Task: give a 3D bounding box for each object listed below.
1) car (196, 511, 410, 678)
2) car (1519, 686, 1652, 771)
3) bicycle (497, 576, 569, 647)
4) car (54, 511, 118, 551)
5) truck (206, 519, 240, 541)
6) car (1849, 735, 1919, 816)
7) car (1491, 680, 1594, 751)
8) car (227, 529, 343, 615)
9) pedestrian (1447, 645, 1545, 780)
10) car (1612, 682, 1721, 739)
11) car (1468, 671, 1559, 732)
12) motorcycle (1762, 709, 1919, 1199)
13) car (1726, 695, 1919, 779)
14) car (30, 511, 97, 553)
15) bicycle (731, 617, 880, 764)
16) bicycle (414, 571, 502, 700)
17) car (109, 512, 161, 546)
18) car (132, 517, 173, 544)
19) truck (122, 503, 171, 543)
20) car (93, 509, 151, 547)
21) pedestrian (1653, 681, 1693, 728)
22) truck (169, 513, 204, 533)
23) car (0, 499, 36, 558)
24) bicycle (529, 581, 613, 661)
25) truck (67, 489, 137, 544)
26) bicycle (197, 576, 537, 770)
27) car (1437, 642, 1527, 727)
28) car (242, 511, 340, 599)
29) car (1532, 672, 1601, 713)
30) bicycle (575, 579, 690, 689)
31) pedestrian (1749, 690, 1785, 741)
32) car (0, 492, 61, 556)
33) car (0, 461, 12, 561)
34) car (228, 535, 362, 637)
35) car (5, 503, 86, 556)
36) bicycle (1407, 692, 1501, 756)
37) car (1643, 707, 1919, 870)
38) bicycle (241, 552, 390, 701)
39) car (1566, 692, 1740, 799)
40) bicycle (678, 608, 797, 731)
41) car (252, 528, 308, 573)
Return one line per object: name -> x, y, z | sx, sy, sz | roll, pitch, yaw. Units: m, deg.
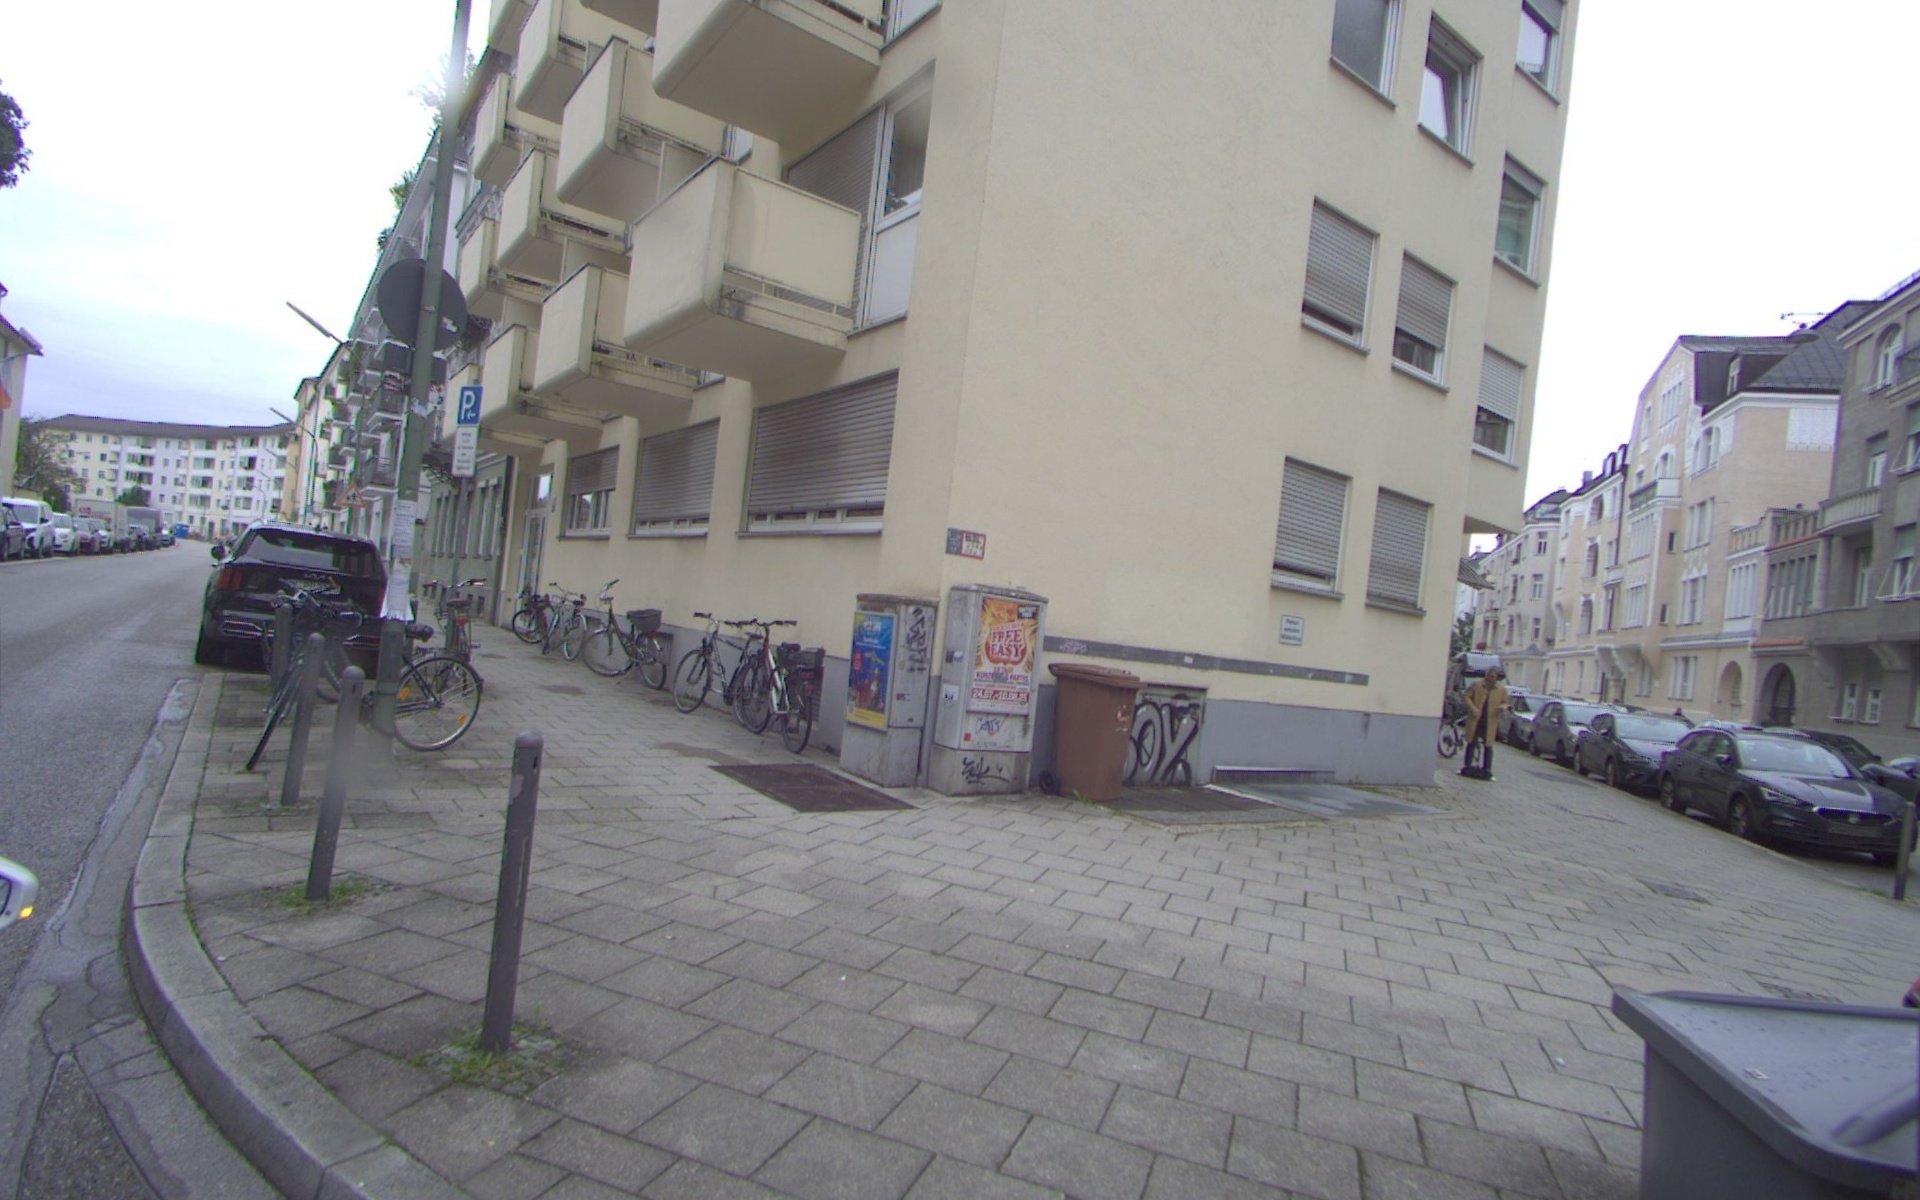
car -> -8.400, -0.128, 12.758 | 1.839, 1.659, 4.506 | 6, 0, -36
car -> 15.137, 3.060, 24.576 | 1.608, 1.556, 3.856 | 6, 0, 16
bicycle -> -7.344, 0.183, 17.256 | 0.577, 1.067, 1.743 | 5, 0, -40
car -> -38.595, -3.031, 44.508 | 1.785, 1.487, 3.828 | 6, 0, -37
truck -> -94.435, -8.920, 128.861 | 5.214, 2.329, 2.222 | 6, 1, 40
car -> 19.622, 3.615, 19.785 | 1.728, 1.347, 4.096 | 6, 0, 21
car -> 16.921, 3.301, 29.411 | 1.608, 1.611, 3.969 | 6, 0, 17
car -> -15.132, -0.678, 22.442 | 1.849, 1.570, 4.707 | 6, 0, -36
pedestrian -> 8.097, 1.676, 15.252 | 0.728, 1.867, 1.018 | 9, -2, 5
car -> 25.474, 3.944, 36.486 | 1.808, 1.532, 4.608 | 6, -1, 18
car -> 19.247, 3.487, 35.192 | 1.963, 1.709, 4.674 | 5, -1, 20
motorcycle -> 3.483, 1.130, 2.614 | 2.047, 1.372, 0.817 | 7, 0, -3
car -> 21.907, 3.413, 25.838 | 1.962, 1.466, 4.779 | 7, 0, 18
car -> -35.366, -2.679, 39.767 | 1.743, 1.385, 3.957 | 6, 0, -39
bicycle -> -1.413, 0.760, 8.905 | 0.575, 1.067, 1.748 | 5, 0, -32
bicycle -> -5.288, 0.328, 10.532 | 0.575, 1.168, 1.947 | 5, 0, -32
car -> -50.517, -4.315, 61.696 | 1.981, 1.784, 4.341 | 6, 0, -35
car -> -61.650, -5.304, 76.872 | 1.981, 1.784, 4.341 | 6, 0, -35
truck -> -54.173, -5.097, 67.055 | 1.981, 2.348, 5.360 | 6, 0, -35
car -> -46.831, -3.991, 56.316 | 1.981, 1.784, 4.341 | 6, 0, -35
pedestrian -> 29.346, 4.294, 41.428 | 0.977, 1.750, 0.939 | 6, 1, 19
truck -> -110.345, -11.024, 143.458 | 5.361, 2.328, 2.620 | 6, 0, 39
car -> -26.148, -1.989, 26.788 | 1.734, 1.462, 3.961 | 6, 0, -36
bicycle -> -6.080, 0.308, 15.663 | 0.577, 1.067, 1.817 | 5, 0, -40
truck -> -42.411, -4.066, 49.840 | 1.981, 2.348, 5.360 | 6, 0, -35
bicycle -> -3.912, 0.476, 6.788 | 0.763, 1.079, 1.758 | 6, 0, 32
car -> 21.555, 3.373, 41.815 | 2.220, 2.997, 6.130 | 5, 0, 19
car -> -18.118, -1.230, 27.147 | 1.859, 1.992, 4.769 | 6, 0, -36
car -> 30.807, 4.657, 51.240 | 1.921, 1.679, 4.617 | 6, -1, 19
bicycle -> -4.221, 0.409, 12.881 | 0.684, 1.221, 1.742 | 5, 0, -41
pedestrian -> 31.122, 4.428, 38.810 | 0.705, 1.840, 0.730 | 6, 1, 19
car -> -28.783, -2.344, 30.549 | 1.811, 1.732, 3.959 | 6, 0, -38
car -> -22.857, -2.118, 22.048 | 2.124, 2.378, 5.319 | 6, 0, -35
car -> -12.260, -0.321, 18.418 | 1.719, 1.476, 4.373 | 8, -1, -36
car -> -32.609, -2.507, 35.954 | 1.837, 1.559, 3.957 | 6, 0, -39
bicycle -> 9.540, 2.400, 19.408 | 1.783, 1.045, 0.746 | 7, 1, -35
car -> 11.631, 2.521, 14.414 | 1.666, 1.490, 4.611 | 6, -1, 18
bicycle -> -5.937, 0.214, 9.214 | 1.936, 1.168, 0.578 | 6, 0, 42
car -> 13.283, 2.712, 19.541 | 1.608, 1.490, 3.855 | 6, 0, 18
bicycle -> -2.338, 0.681, 10.393 | 0.575, 1.067, 1.748 | 5, 0, -32
car -> -26.413, -1.930, 39.083 | 1.638, 1.451, 3.963 | 6, 0, -34
